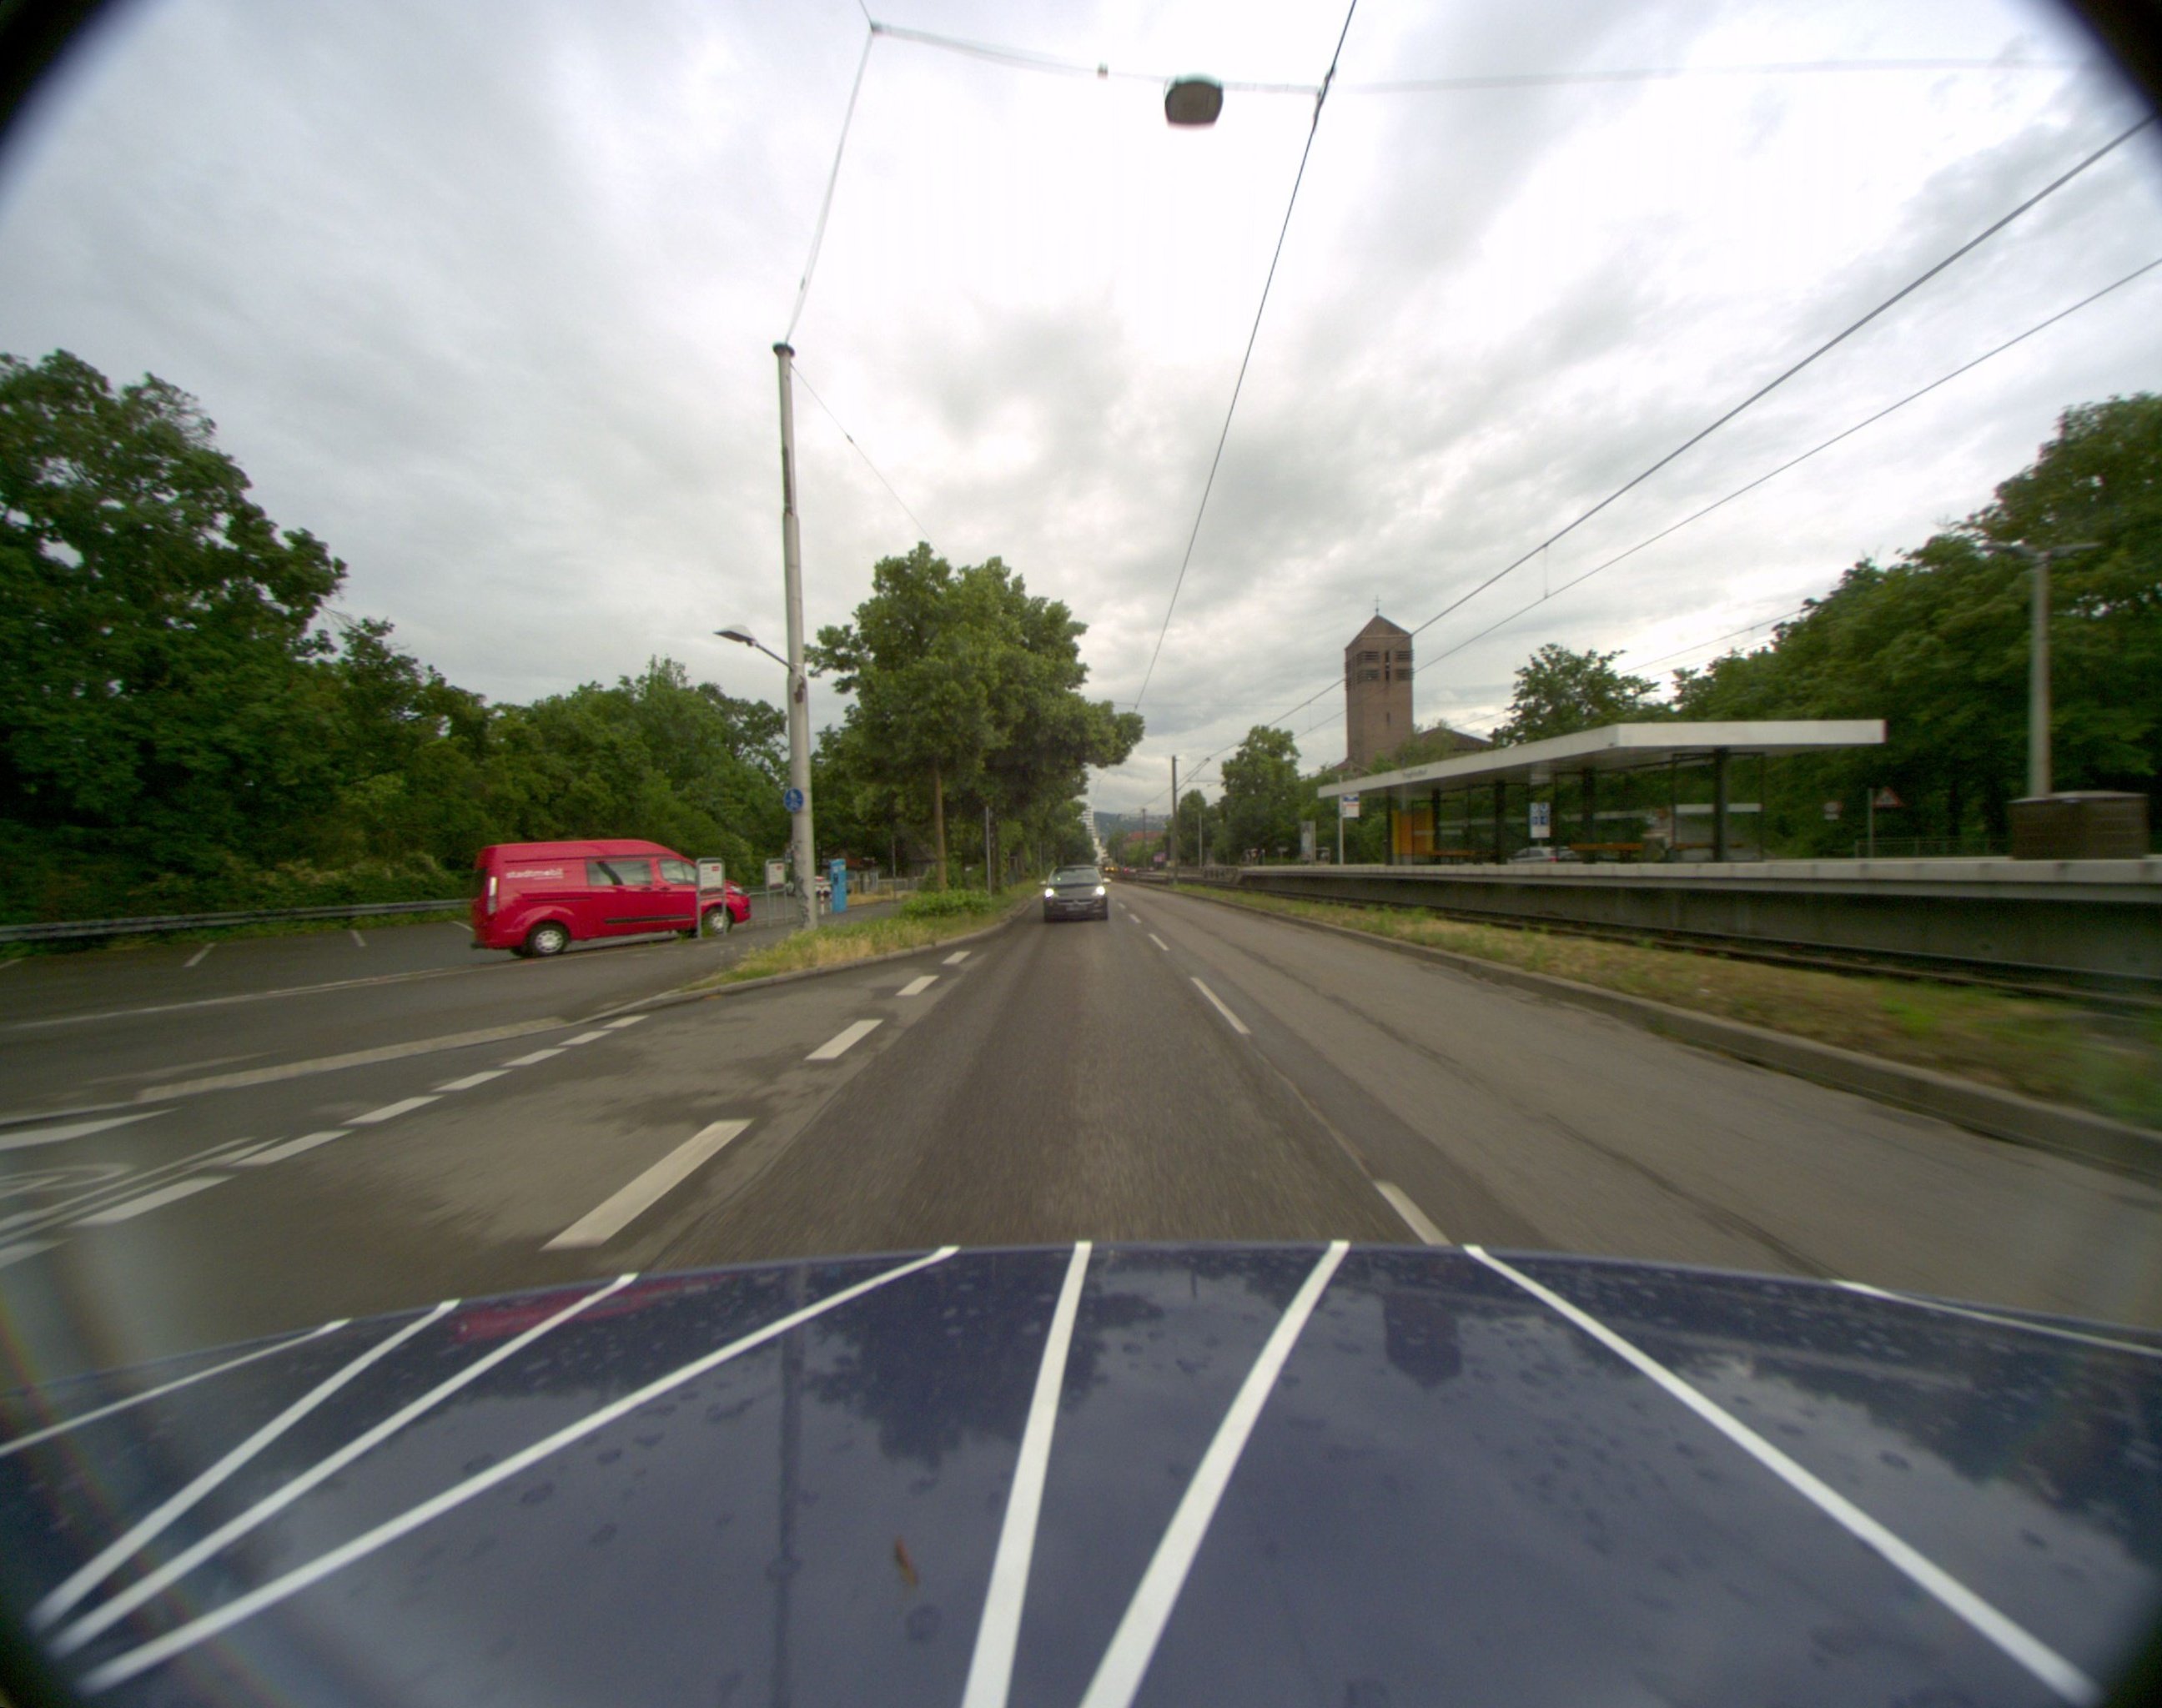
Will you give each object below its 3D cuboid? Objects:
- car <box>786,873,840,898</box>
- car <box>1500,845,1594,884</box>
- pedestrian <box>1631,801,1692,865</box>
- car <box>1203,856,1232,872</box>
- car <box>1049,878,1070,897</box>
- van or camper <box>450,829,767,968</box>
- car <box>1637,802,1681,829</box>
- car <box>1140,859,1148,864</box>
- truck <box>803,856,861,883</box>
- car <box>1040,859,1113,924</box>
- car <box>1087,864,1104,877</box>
[{"bbox_3d":[-19.071,2.206,53.947,2.004,1.570,4.638,-2,0,-42],"label":"car"},{"bbox_3d":[24.239,0.526,39.754,1.999,1.865,4.517,-2,0,-1],"label":"car"},{"bbox_3d":[11.548,-0.404,15.135,0.712,1.218,0.619,-2,0,0],"label":"pedestrian"},{"bbox_3d":[14.864,1.040,82.801,1.999,1.614,4.516,-2,0,-4],"label":"car"},{"bbox_3d":[-1.851,2.881,65.677,1.769,1.502,4.340,-2,-1,-2],"label":"car"},{"bbox_3d":[-10.160,0.844,16.761,2.036,2.392,5.401,-6,0,43],"label":"van or camper"},{"bbox_3d":[46.362,-3.058,61.024,1.995,2.002,4.006,-3,1,26],"label":"car"},{"bbox_3d":[20.277,2.427,244.797,1.998,1.634,4.525,0,-1,1],"label":"car"},{"bbox_3d":[-28.161,1.677,86.190,2.055,2.850,6.618,-2,0,29],"label":"truck"},{"bbox_3d":[-0.124,0.972,21.383,1.746,1.544,4.494,-3,-1,-1],"label":"car"},{"bbox_3d":[1.845,1.999,93.538,1.768,1.502,4.343,-2,-1,4],"label":"car"}]
